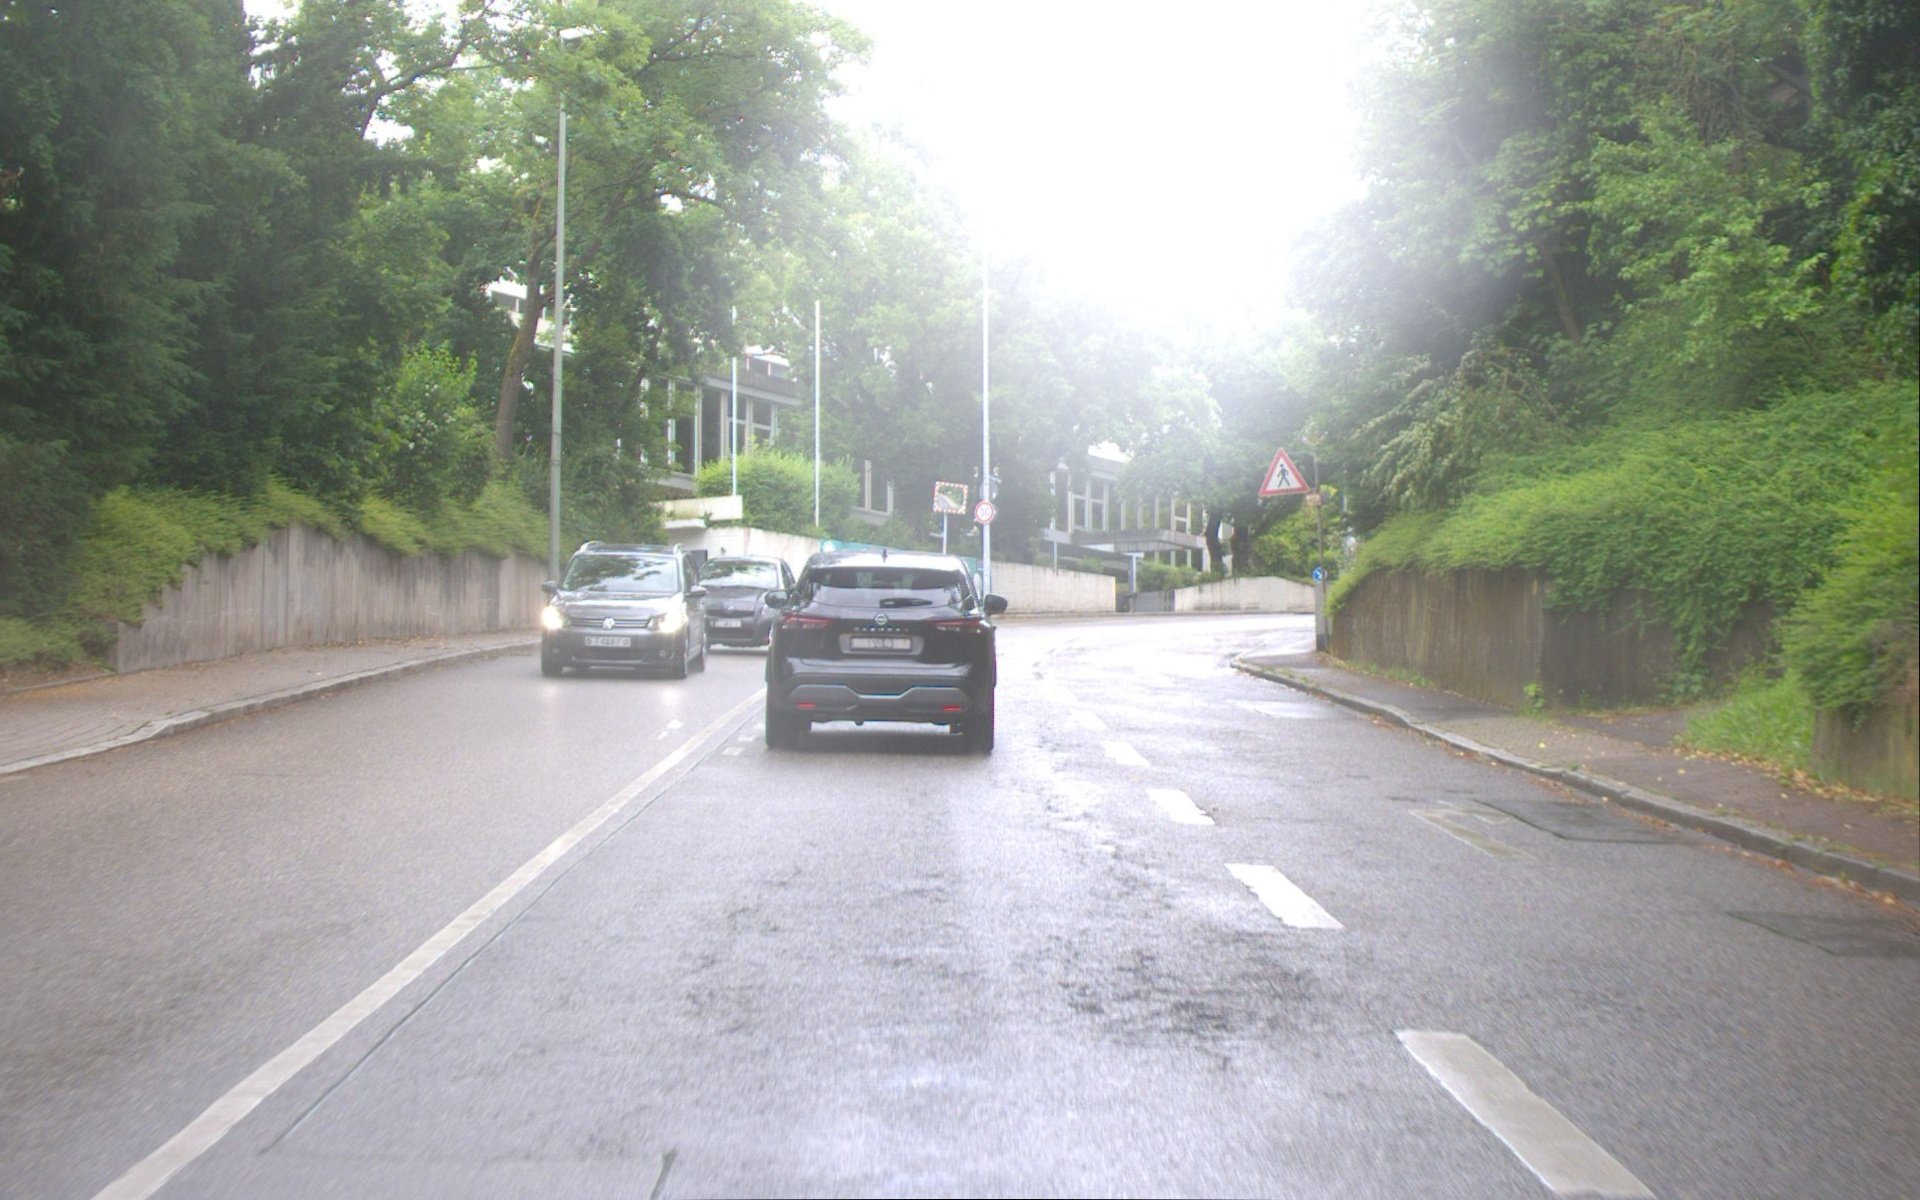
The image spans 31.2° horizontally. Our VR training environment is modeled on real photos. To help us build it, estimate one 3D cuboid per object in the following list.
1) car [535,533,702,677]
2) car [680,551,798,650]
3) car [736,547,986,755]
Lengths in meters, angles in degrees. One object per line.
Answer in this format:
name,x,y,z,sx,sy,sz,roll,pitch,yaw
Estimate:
car,-4.235,0.031,43.114,1.830,1.705,4.000,0,1,-2
car,-3.407,-0.013,53.429,1.675,1.491,3.460,0,1,-1
car,-0.789,0.365,28.551,1.928,1.607,4.000,0,1,-1
